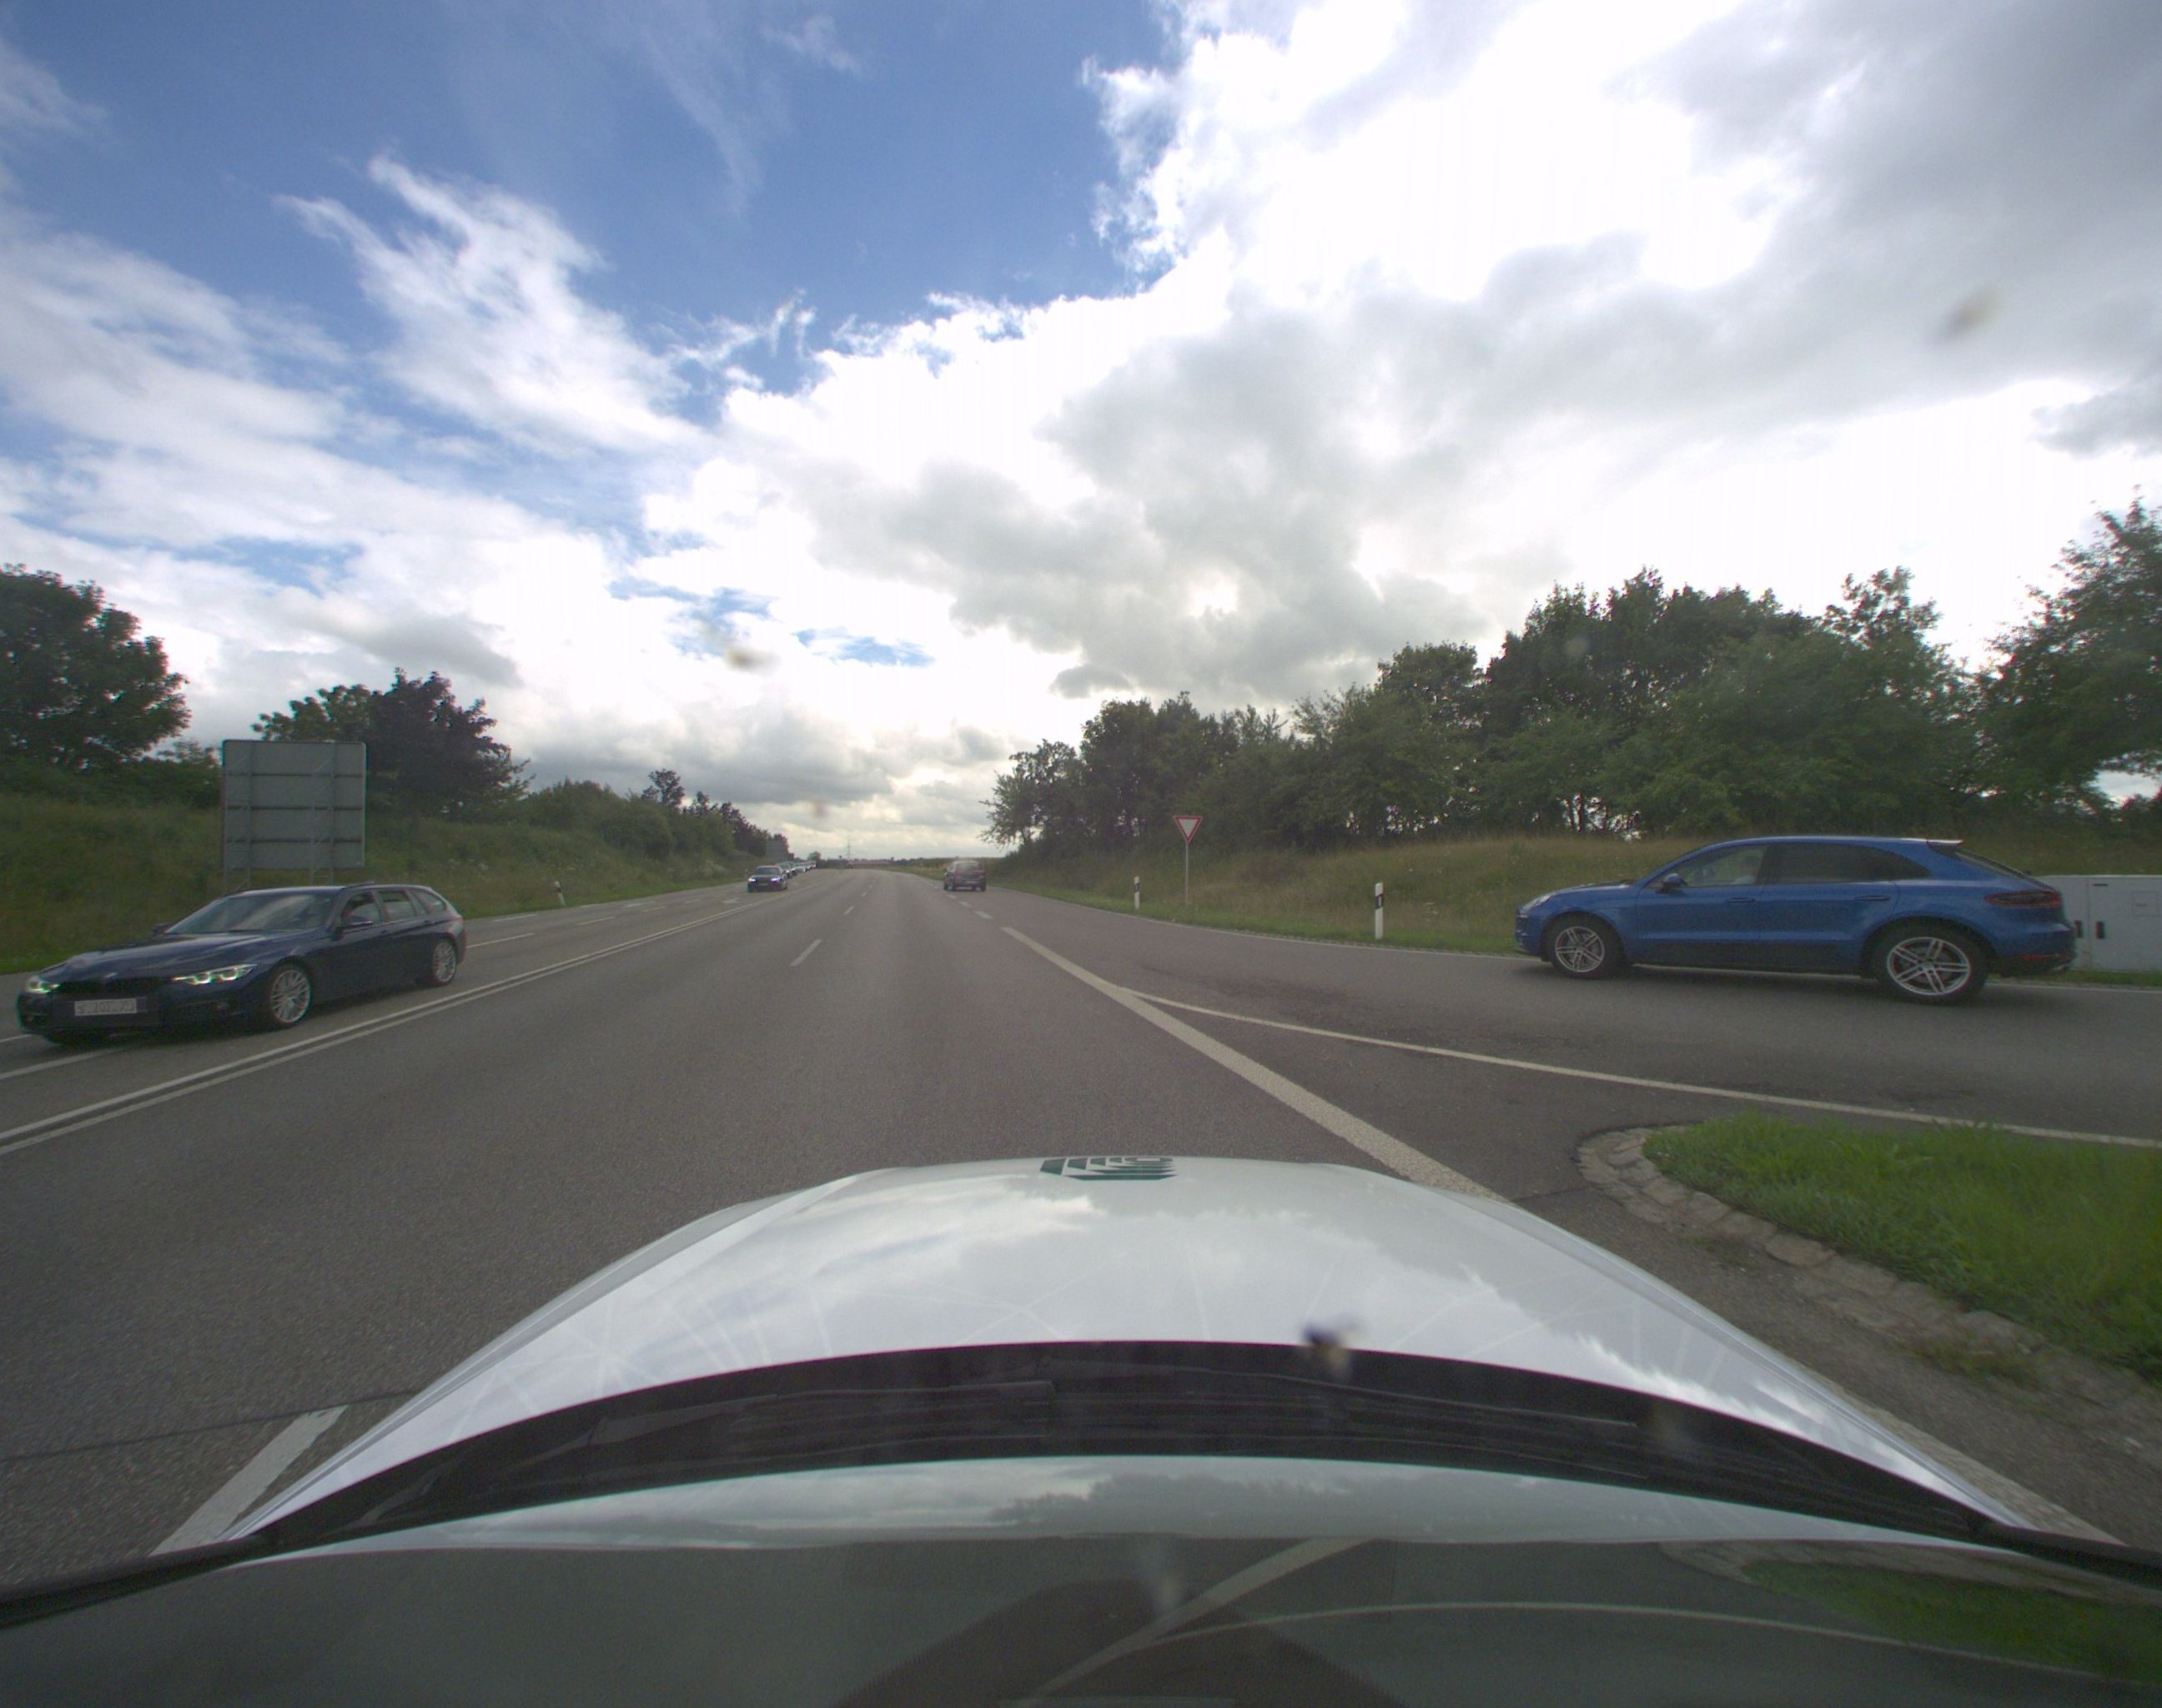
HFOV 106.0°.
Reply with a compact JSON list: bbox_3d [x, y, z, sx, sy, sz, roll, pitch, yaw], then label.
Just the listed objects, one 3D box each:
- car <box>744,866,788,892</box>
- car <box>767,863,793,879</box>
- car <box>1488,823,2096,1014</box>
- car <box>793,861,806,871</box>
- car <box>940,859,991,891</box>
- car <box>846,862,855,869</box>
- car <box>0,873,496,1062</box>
[{"bbox_3d":[-17.894,1.386,46.416,1.768,1.383,4.521,-1,0,-14],"label":"car"},{"bbox_3d":[-29.562,1.623,80.012,1.998,1.494,4.965,-1,0,-16],"label":"car"},{"bbox_3d":[7.414,0.555,9.099,2.012,1.570,4.697,-1,0,-44],"label":"car"},{"bbox_3d":[-42.445,1.828,122.768,1.672,1.442,4.121,-1,0,-18],"label":"car"},{"bbox_3d":[-5.895,1.011,41.169,1.998,1.535,3.978,0,0,-16],"label":"car"},{"bbox_3d":[-58.309,2.910,206.266,1.997,1.715,3.980,-1,0,-15],"label":"car"},{"bbox_3d":[-9.278,1.053,9.635,2.051,1.484,4.859,-2,0,-13],"label":"car"}]
